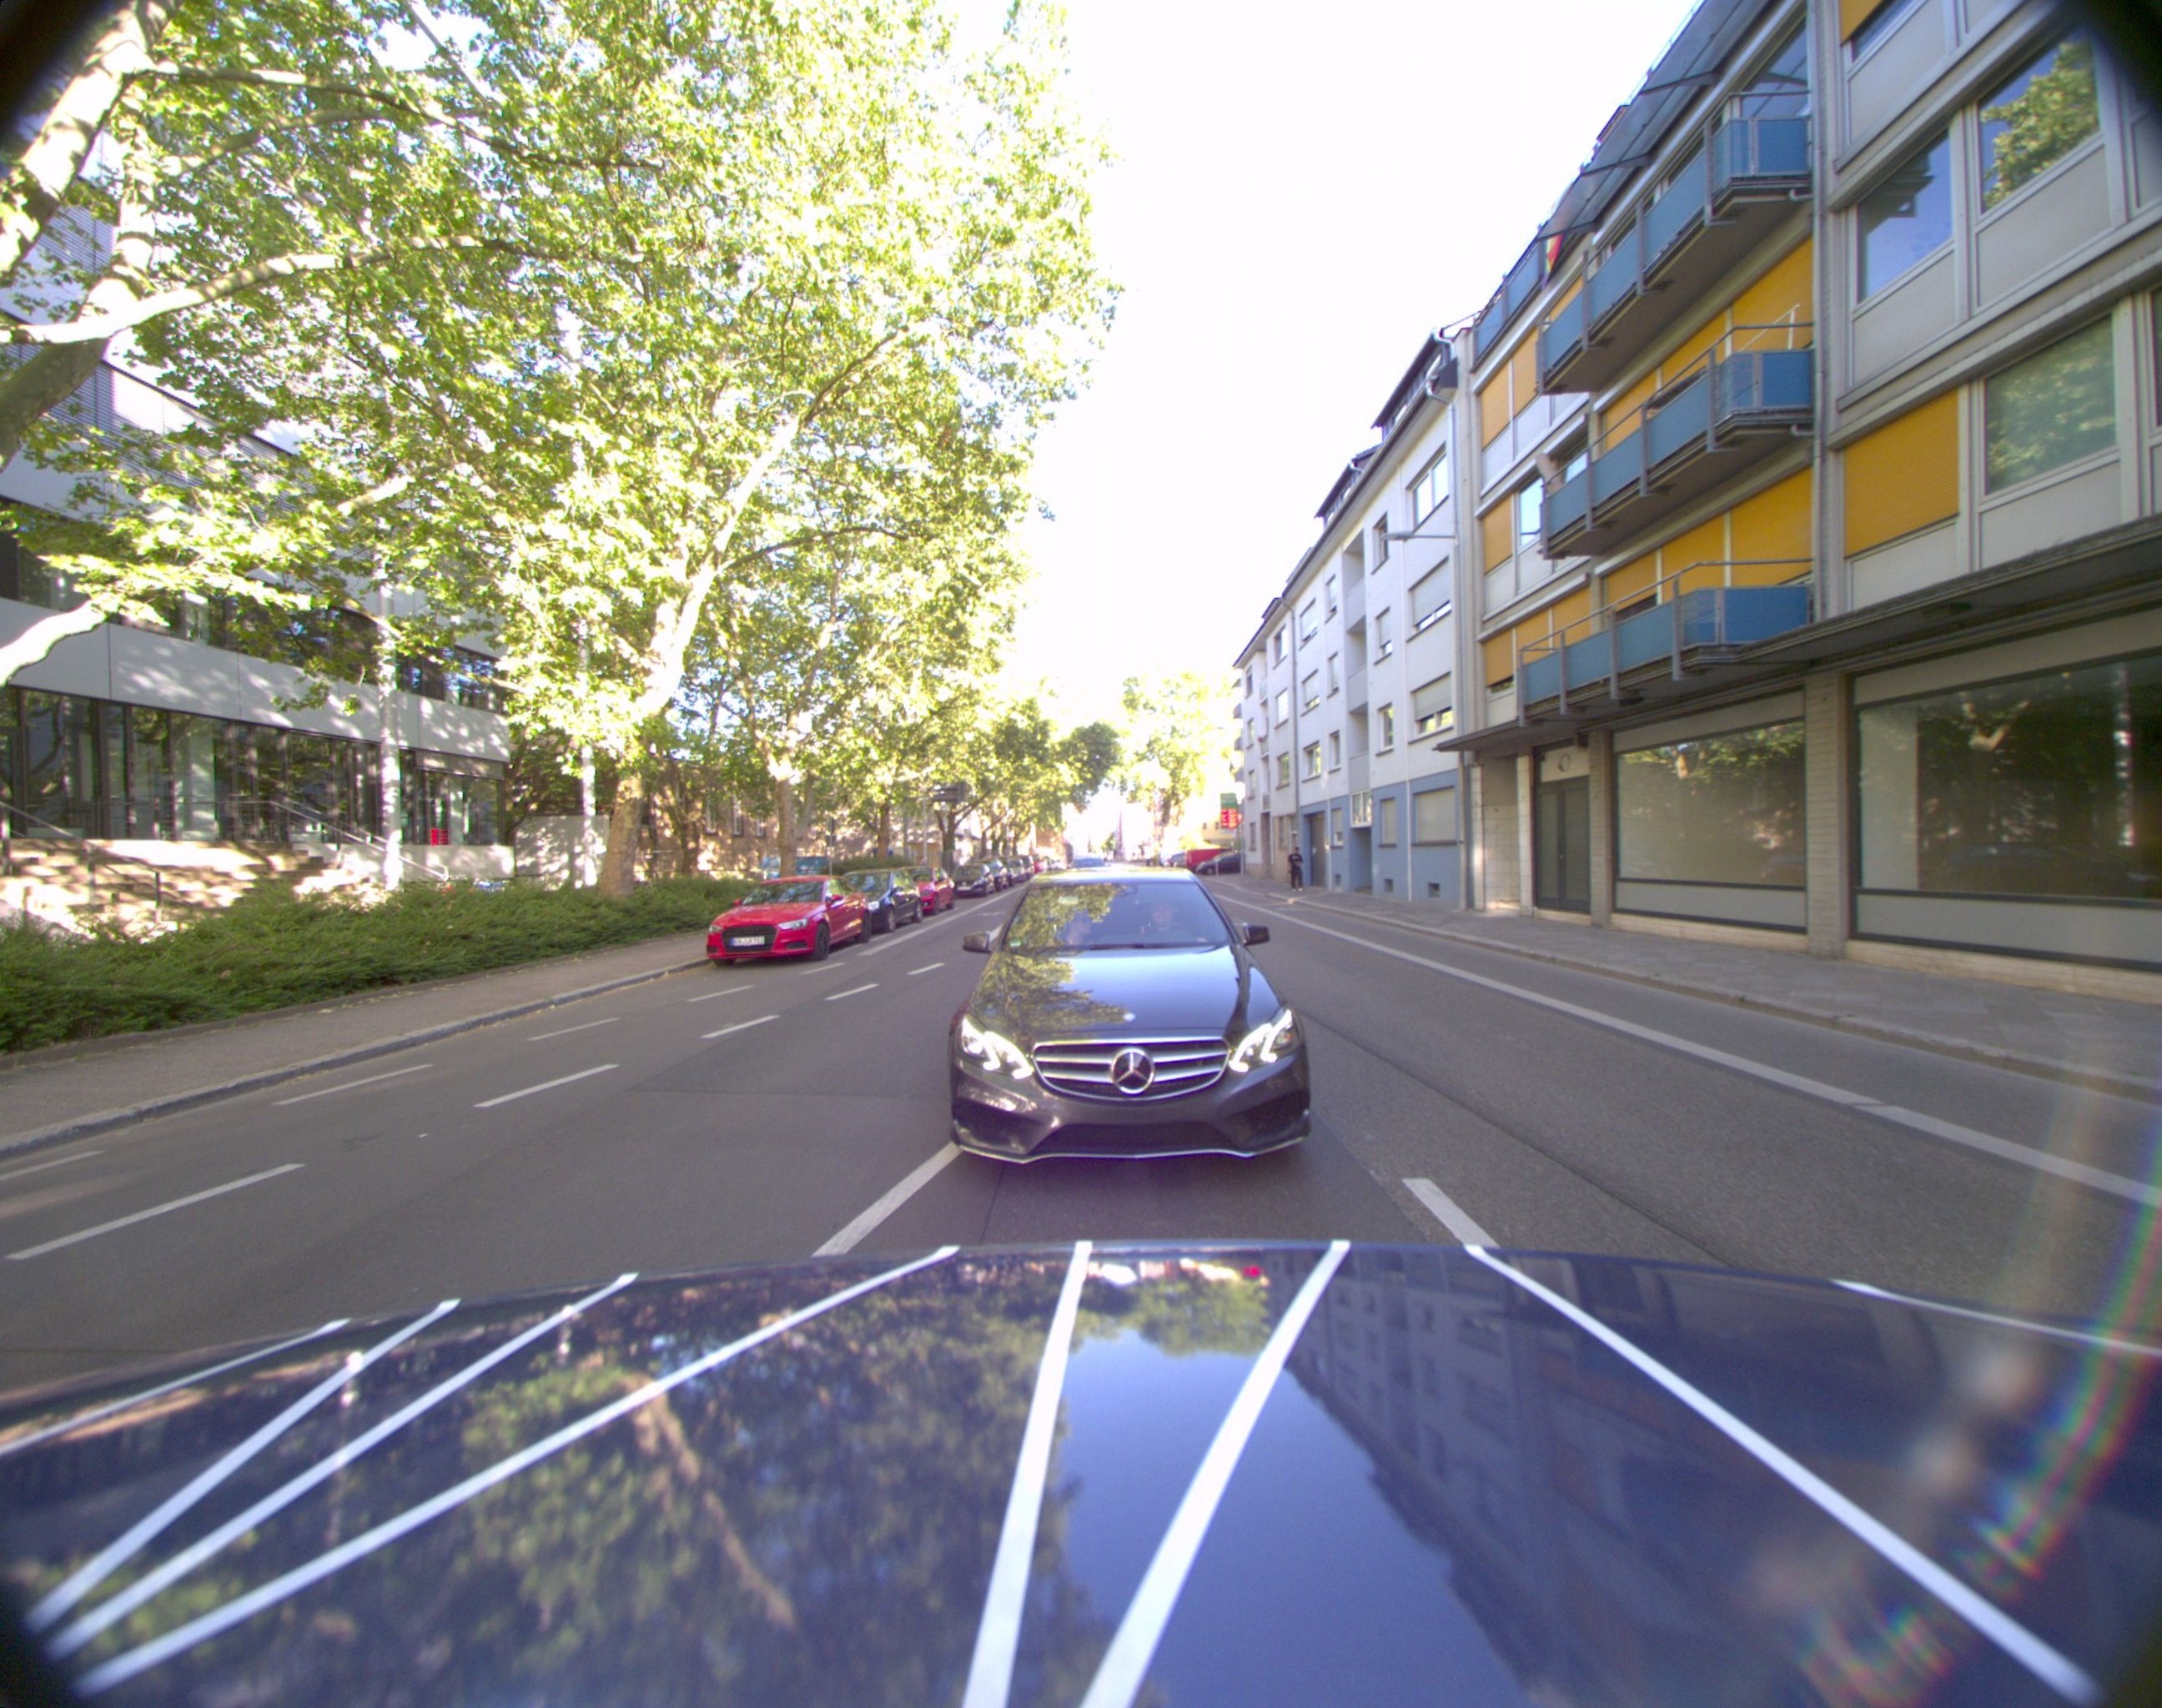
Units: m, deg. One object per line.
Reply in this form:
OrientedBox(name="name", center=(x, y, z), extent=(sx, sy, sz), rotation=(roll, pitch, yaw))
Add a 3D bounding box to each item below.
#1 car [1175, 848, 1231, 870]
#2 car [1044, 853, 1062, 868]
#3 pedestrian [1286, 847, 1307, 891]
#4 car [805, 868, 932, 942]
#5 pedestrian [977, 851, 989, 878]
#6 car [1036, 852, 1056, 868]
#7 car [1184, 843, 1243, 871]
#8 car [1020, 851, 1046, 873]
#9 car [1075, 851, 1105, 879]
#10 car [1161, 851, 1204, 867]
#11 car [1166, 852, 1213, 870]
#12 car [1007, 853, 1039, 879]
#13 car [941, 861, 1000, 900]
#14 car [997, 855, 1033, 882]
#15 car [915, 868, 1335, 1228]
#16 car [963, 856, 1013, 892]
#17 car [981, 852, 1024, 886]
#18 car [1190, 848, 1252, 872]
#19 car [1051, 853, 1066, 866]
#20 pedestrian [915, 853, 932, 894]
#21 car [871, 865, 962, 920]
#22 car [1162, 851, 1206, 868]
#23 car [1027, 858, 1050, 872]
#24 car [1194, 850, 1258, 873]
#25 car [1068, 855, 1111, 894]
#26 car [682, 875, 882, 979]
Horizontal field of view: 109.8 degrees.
OrientedBox(name="car", center=(10.054, 0.412, 62.700), extent=(4.255, 1.461, 1.653), rotation=(-4, 0, 1))
OrientedBox(name="car", center=(-3.409, 0.794, 92.831), extent=(1.835, 1.667, 4.259), rotation=(-2, 0, 1))
OrientedBox(name="pedestrian", center=(8.403, 0.569, 29.599), extent=(0.612, 1.685, 0.655), rotation=(-2, 1, 1))
OrientedBox(name="car", center=(-5.040, 1.147, 18.619), extent=(1.835, 1.438, 4.168), rotation=(-2, 0, 1))
OrientedBox(name="pedestrian", center=(-6.773, 0.740, 52.435), extent=(0.660, 1.849, 0.641), rotation=(-2, 1, 1))
OrientedBox(name="car", center=(-3.936, 0.675, 86.216), extent=(1.835, 1.667, 4.259), rotation=(-2, 0, 1))
OrientedBox(name="car", center=(10.417, 0.226, 60.118), extent=(4.255, 1.907, 1.818), rotation=(-4, 0, 0))
OrientedBox(name="car", center=(-4.143, 0.686, 66.336), extent=(1.835, 1.839, 4.259), rotation=(-2, 0, 1))
OrientedBox(name="car", center=(0.614, 0.701, 50.870), extent=(1.908, 1.678, 4.813), rotation=(-2, 0, 1))
OrientedBox(name="car", center=(10.777, 0.521, 80.604), extent=(4.255, 1.461, 1.653), rotation=(-4, 0, 1))
OrientedBox(name="car", center=(10.435, 0.679, 73.181), extent=(4.255, 1.461, 1.653), rotation=(-4, 0, 1))
OrientedBox(name="car", center=(-4.178, 0.814, 55.628), extent=(1.835, 1.750, 4.259), rotation=(-2, 0, 1))
OrientedBox(name="car", center=(-4.744, 1.103, 33.166), extent=(1.835, 1.459, 4.168), rotation=(-2, 0, 1))
OrientedBox(name="car", center=(-4.336, 0.948, 50.597), extent=(1.835, 1.604, 4.259), rotation=(-2, 0, 1))
OrientedBox(name="car", center=(0.225, 0.912, 5.560), extent=(1.849, 1.490, 4.302), rotation=(-1, 0, 1))
OrientedBox(name="car", center=(-4.595, 0.964, 38.064), extent=(1.835, 1.596, 4.161), rotation=(-2, 0, 1))
OrientedBox(name="car", center=(-4.508, 0.823, 44.103), extent=(1.835, 1.787, 4.463), rotation=(-2, 0, 1))
OrientedBox(name="car", center=(10.486, 0.458, 57.038), extent=(4.255, 1.461, 1.653), rotation=(-4, 0, 1))
OrientedBox(name="car", center=(-3.044, 0.695, 102.938), extent=(1.835, 1.667, 4.259), rotation=(-2, 0, 1))
OrientedBox(name="pedestrian", center=(-6.931, 0.839, 33.461), extent=(0.601, 1.785, 0.593), rotation=(-2, 1, 0))
OrientedBox(name="car", center=(-5.041, 1.132, 23.829), extent=(1.835, 1.459, 4.168), rotation=(-2, 0, 1))
OrientedBox(name="car", center=(10.606, 0.547, 78.639), extent=(4.255, 1.461, 1.653), rotation=(-4, 0, 1))
OrientedBox(name="car", center=(-3.988, 1.031, 71.777), extent=(1.835, 1.220, 4.259), rotation=(-2, 0, 1))
OrientedBox(name="car", center=(10.402, 0.521, 54.736), extent=(4.255, 1.392, 1.653), rotation=(-4, 0, 1))
OrientedBox(name="car", center=(0.389, 0.850, 33.143), extent=(1.726, 1.530, 4.000), rotation=(-1, 0, 1))
OrientedBox(name="car", center=(-5.129, 1.173, 13.759), extent=(1.835, 1.396, 4.247), rotation=(-2, 0, 1))
